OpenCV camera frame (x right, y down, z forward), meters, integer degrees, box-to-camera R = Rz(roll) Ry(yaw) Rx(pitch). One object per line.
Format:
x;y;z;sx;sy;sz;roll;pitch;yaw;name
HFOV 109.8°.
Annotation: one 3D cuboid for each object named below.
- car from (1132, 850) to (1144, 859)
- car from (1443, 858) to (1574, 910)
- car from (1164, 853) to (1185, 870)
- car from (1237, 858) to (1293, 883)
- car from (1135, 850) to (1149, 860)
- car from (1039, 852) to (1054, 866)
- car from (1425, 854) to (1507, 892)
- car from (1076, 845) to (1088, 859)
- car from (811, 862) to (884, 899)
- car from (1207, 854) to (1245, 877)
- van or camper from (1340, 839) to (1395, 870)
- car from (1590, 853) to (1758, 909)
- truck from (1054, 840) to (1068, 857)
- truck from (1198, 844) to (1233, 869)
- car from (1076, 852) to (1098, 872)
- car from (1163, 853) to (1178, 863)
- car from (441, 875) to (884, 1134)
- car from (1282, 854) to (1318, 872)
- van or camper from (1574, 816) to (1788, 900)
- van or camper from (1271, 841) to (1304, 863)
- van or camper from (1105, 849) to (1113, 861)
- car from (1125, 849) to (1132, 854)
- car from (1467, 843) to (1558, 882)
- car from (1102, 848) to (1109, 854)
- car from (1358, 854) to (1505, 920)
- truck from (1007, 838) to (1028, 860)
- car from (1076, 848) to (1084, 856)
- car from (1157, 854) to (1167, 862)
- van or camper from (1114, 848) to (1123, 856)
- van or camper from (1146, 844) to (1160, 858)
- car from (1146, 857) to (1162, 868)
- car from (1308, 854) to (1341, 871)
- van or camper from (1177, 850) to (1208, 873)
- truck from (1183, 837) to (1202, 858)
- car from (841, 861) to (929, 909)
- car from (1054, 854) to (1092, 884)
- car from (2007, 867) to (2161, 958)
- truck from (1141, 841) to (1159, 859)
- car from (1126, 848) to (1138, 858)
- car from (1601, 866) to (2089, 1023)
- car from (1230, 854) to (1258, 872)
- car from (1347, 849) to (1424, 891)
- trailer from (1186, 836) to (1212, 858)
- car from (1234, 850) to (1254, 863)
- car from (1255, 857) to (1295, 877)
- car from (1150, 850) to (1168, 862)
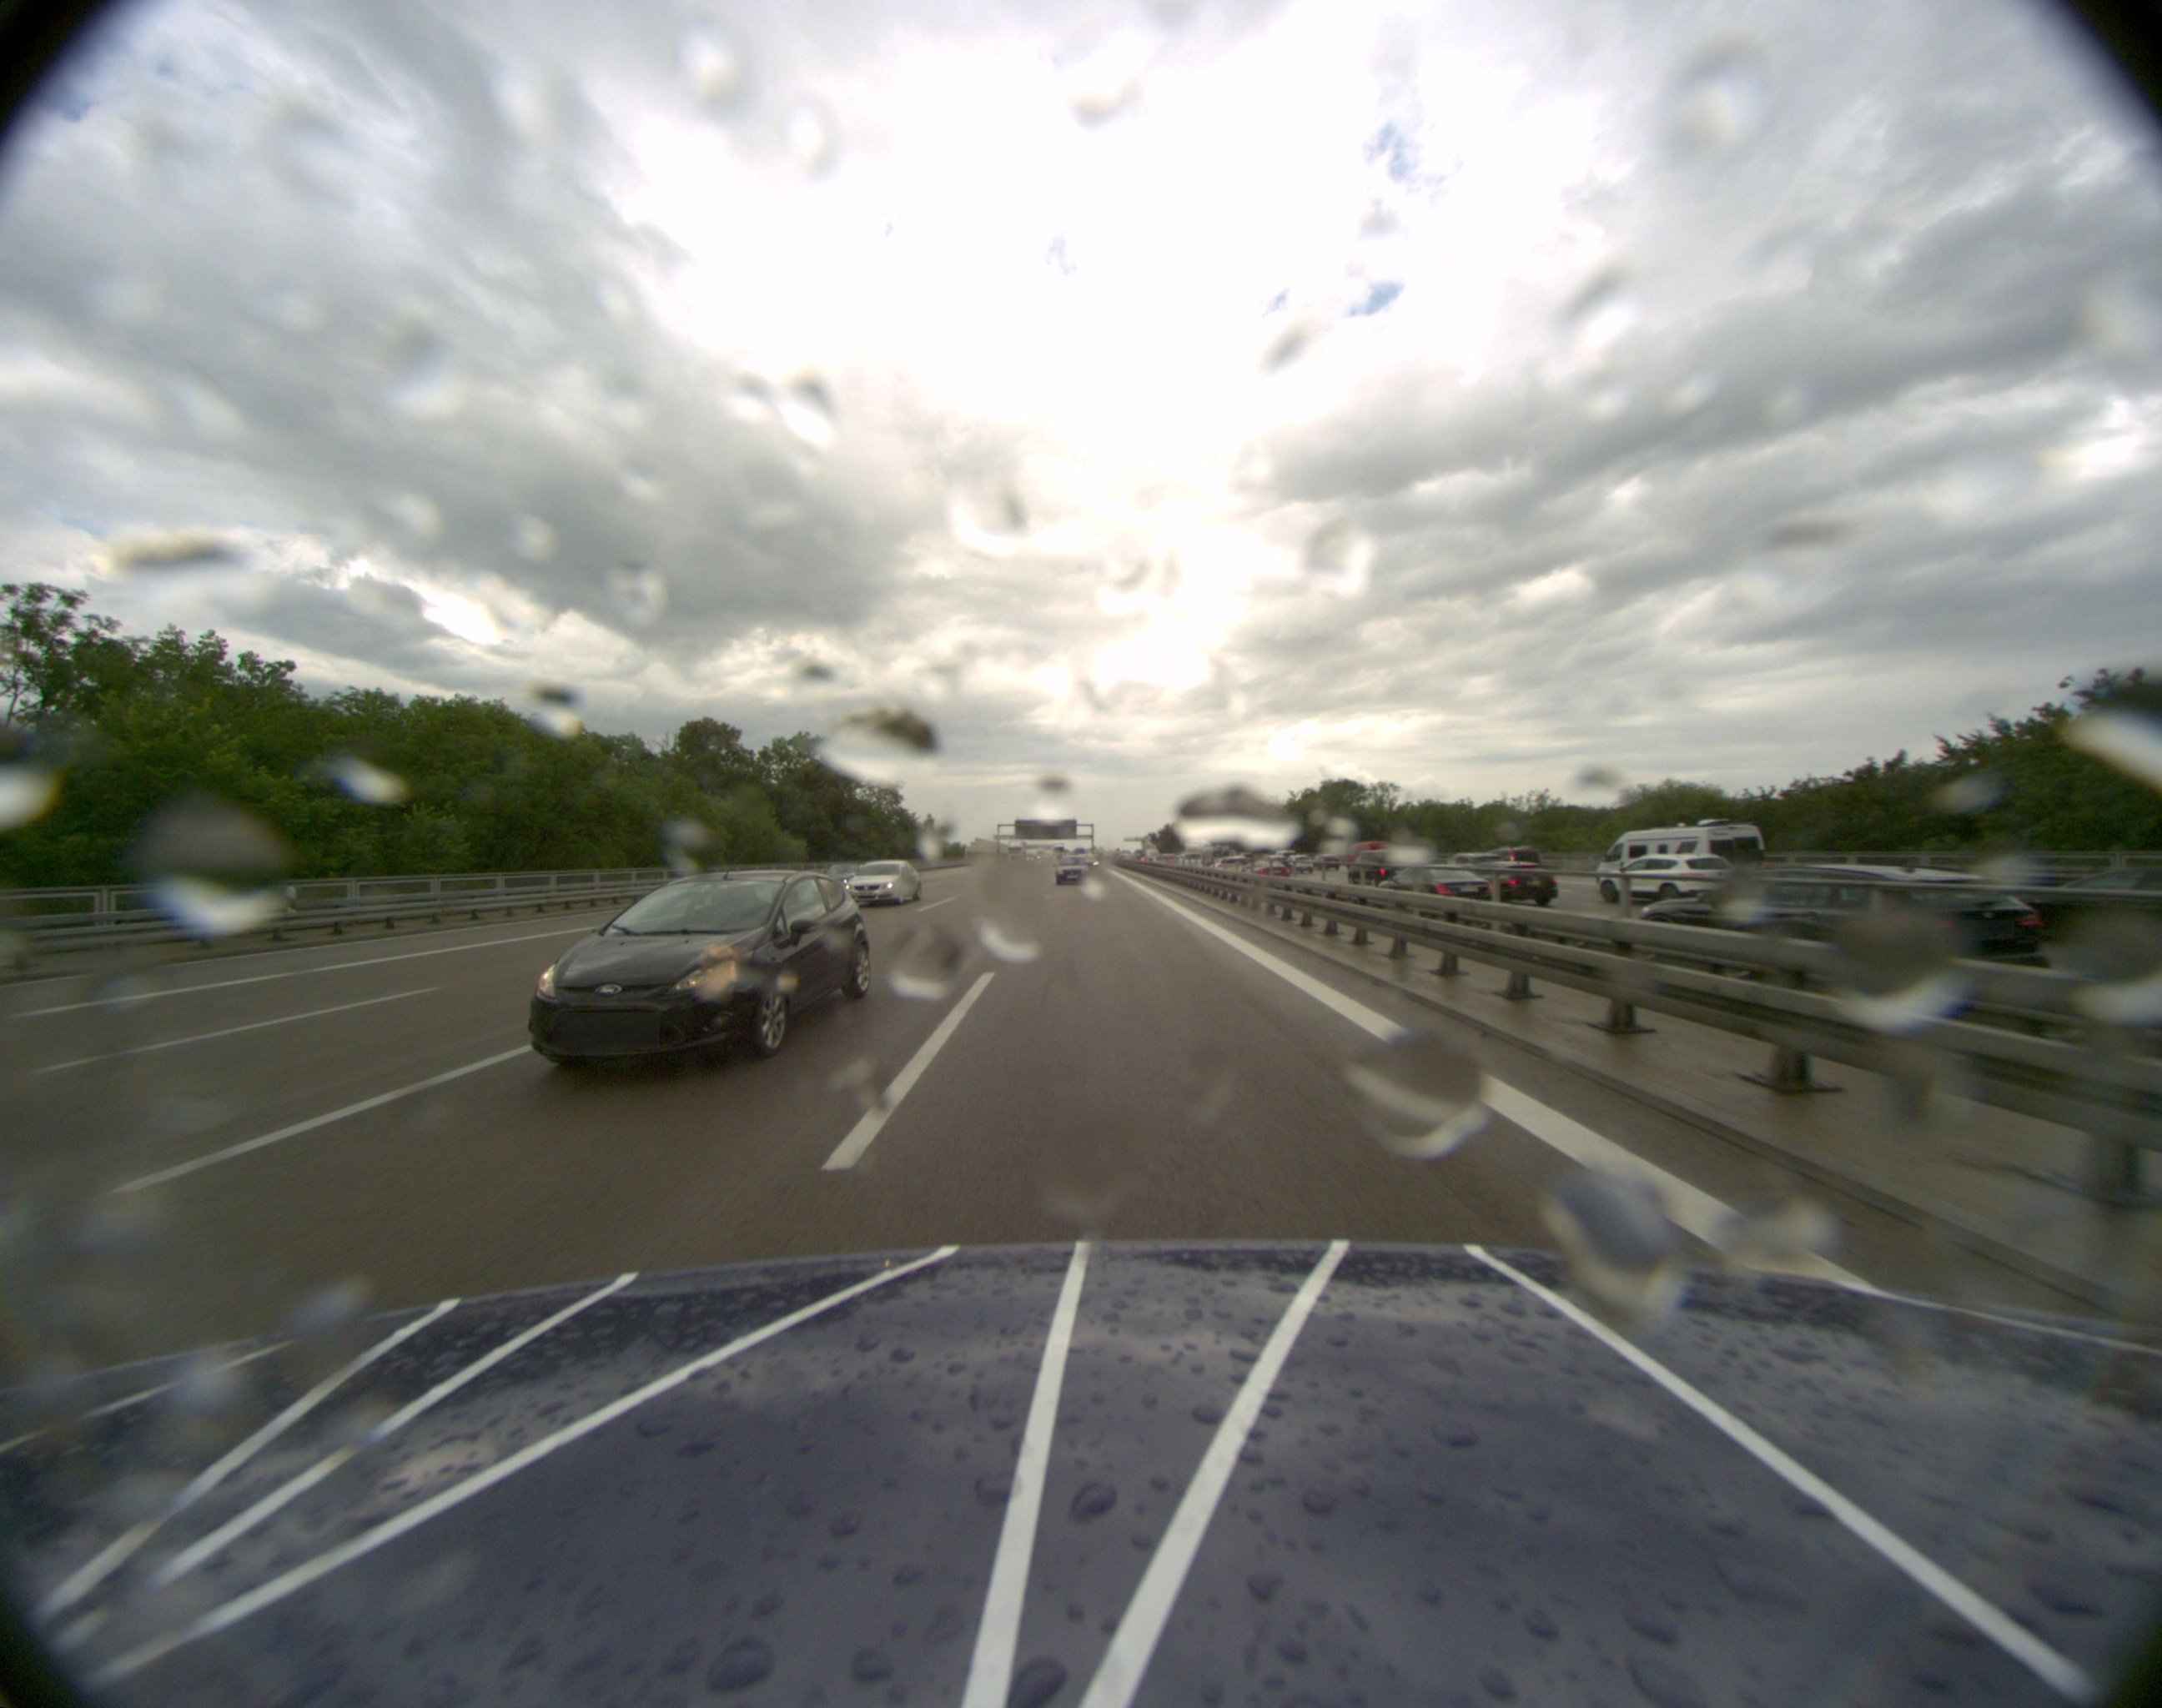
10.130;0.097;134.893;1.684;1.480;4.226;-1;0;-2;car
14.439;0.946;25.999;1.868;1.603;4.462;0;0;-2;car
10.869;0.887;88.609;1.953;1.937;4.725;-1;0;0;car
10.829;0.939;45.077;1.878;1.384;5.364;-1;0;-2;car
10.085;0.178;126.300;1.794;1.501;4.602;-1;0;-2;car
-4.770;0.720;104.490;1.962;1.831;3.999;-1;0;-1;car
17.938;0.849;35.632;1.914;1.635;4.000;0;0;1;car
0.119;-0.347;135.534;1.998;2.354;4.172;-2;0;0;car
-10.104;1.108;33.273;1.781;1.438;4.587;-1;0;-1;car
10.762;0.821;56.775;1.830;1.665;5.358;-1;0;1;car
22.846;0.007;60.914;1.945;2.291;6.233;-1;0;-1;van or camper
18.528;0.768;24.056;1.732;1.603;4.462;0;0;-2;car
-4.963;-1.343;188.470;2.958;3.777;12.324;-2;0;-3;truck
14.639;0.308;83.305;2.152;2.587;8.755;-1;0;-1;truck
0.470;0.654;63.584;1.751;1.489;4.014;-1;1;0;car
14.833;0.662;125.908;1.836;1.638;4.419;-1;0;-2;car
-3.202;1.009;6.996;1.668;1.431;4.404;-1;1;-1;car
18.582;0.731;64.655;1.795;1.492;3.999;0;0;-2;car
22.087;0.141;28.613;2.207;2.749;7.230;-1;0;-2;van or camper
22.943;-0.244;84.617;2.051;2.316;5.933;-1;0;-1;van or camper
8.152;0.233;221.565;2.007;3.381;4.368;-1;0;-2;van or camper
15.656;-0.804;249.536;2.025;1.504;3.999;-1;0;-1;car
22.934;0.432;40.645;2.082;1.934;4.758;0;0;-2;car
7.633;-0.958;236.862;1.999;1.956;3.999;-1;0;-1;car
10.838;0.919;24.082;1.871;1.816;5.708;-1;0;-2;car
-11.521;-0.916;139.768;3.255;3.884;12.311;-2;0;-3;truck
-0.287;-0.588;192.967;1.999;2.002;3.507;-2;0;0;car
17.504;0.815;164.426;1.624;1.606;3.999;-1;0;-1;car
12.086;-0.583;243.192;2.455;2.562;5.420;-1;0;-1;van or camper
13.952;-0.646;147.433;2.039;2.589;7.457;-1;0;-1;van or camper
10.633;1.214;111.155;1.957;1.505;5.071;-1;0;0;car
22.820;0.784;71.356;1.489;1.467;4.610;-1;0;-1;car
10.650;0.693;73.103;1.989;2.056;5.642;-1;0;-2;van or camper
21.564;-1.273;146.813;2.468;3.942;6.982;-1;0;-1;truck
-6.573;0.991;25.939;1.898;1.438;4.245;-1;0;-1;car
-0.434;0.726;38.897;1.781;1.399;5.016;-1;0;-1;car
18.358;0.970;12.365;1.638;1.410;3.999;0;0;-2;car
17.032;-0.975;187.104;3.266;4.267;10.867;-1;0;-1;truck
10.022;-0.198;149.839;1.858;1.974;5.036;-1;0;-2;car
10.379;1.057;11.143;1.872;1.660;5.173;-1;0;-2;car
15.158;0.844;70.930;1.681;1.626;3.999;0;0;-2;car
14.789;0.730;37.231;1.897;1.891;5.002;0;0;1;car
21.638;-1.215;139.760;2.468;3.935;13.218;-1;0;-1;trailer
22.131;0.328;103.278;1.725;1.820;3.999;-1;0;0;car
15.057;0.967;59.250;1.681;1.401;5.014;0;1;-2;car
10.455;0.245;102.107;1.836;1.466;5.923;-1;0;-1;car
